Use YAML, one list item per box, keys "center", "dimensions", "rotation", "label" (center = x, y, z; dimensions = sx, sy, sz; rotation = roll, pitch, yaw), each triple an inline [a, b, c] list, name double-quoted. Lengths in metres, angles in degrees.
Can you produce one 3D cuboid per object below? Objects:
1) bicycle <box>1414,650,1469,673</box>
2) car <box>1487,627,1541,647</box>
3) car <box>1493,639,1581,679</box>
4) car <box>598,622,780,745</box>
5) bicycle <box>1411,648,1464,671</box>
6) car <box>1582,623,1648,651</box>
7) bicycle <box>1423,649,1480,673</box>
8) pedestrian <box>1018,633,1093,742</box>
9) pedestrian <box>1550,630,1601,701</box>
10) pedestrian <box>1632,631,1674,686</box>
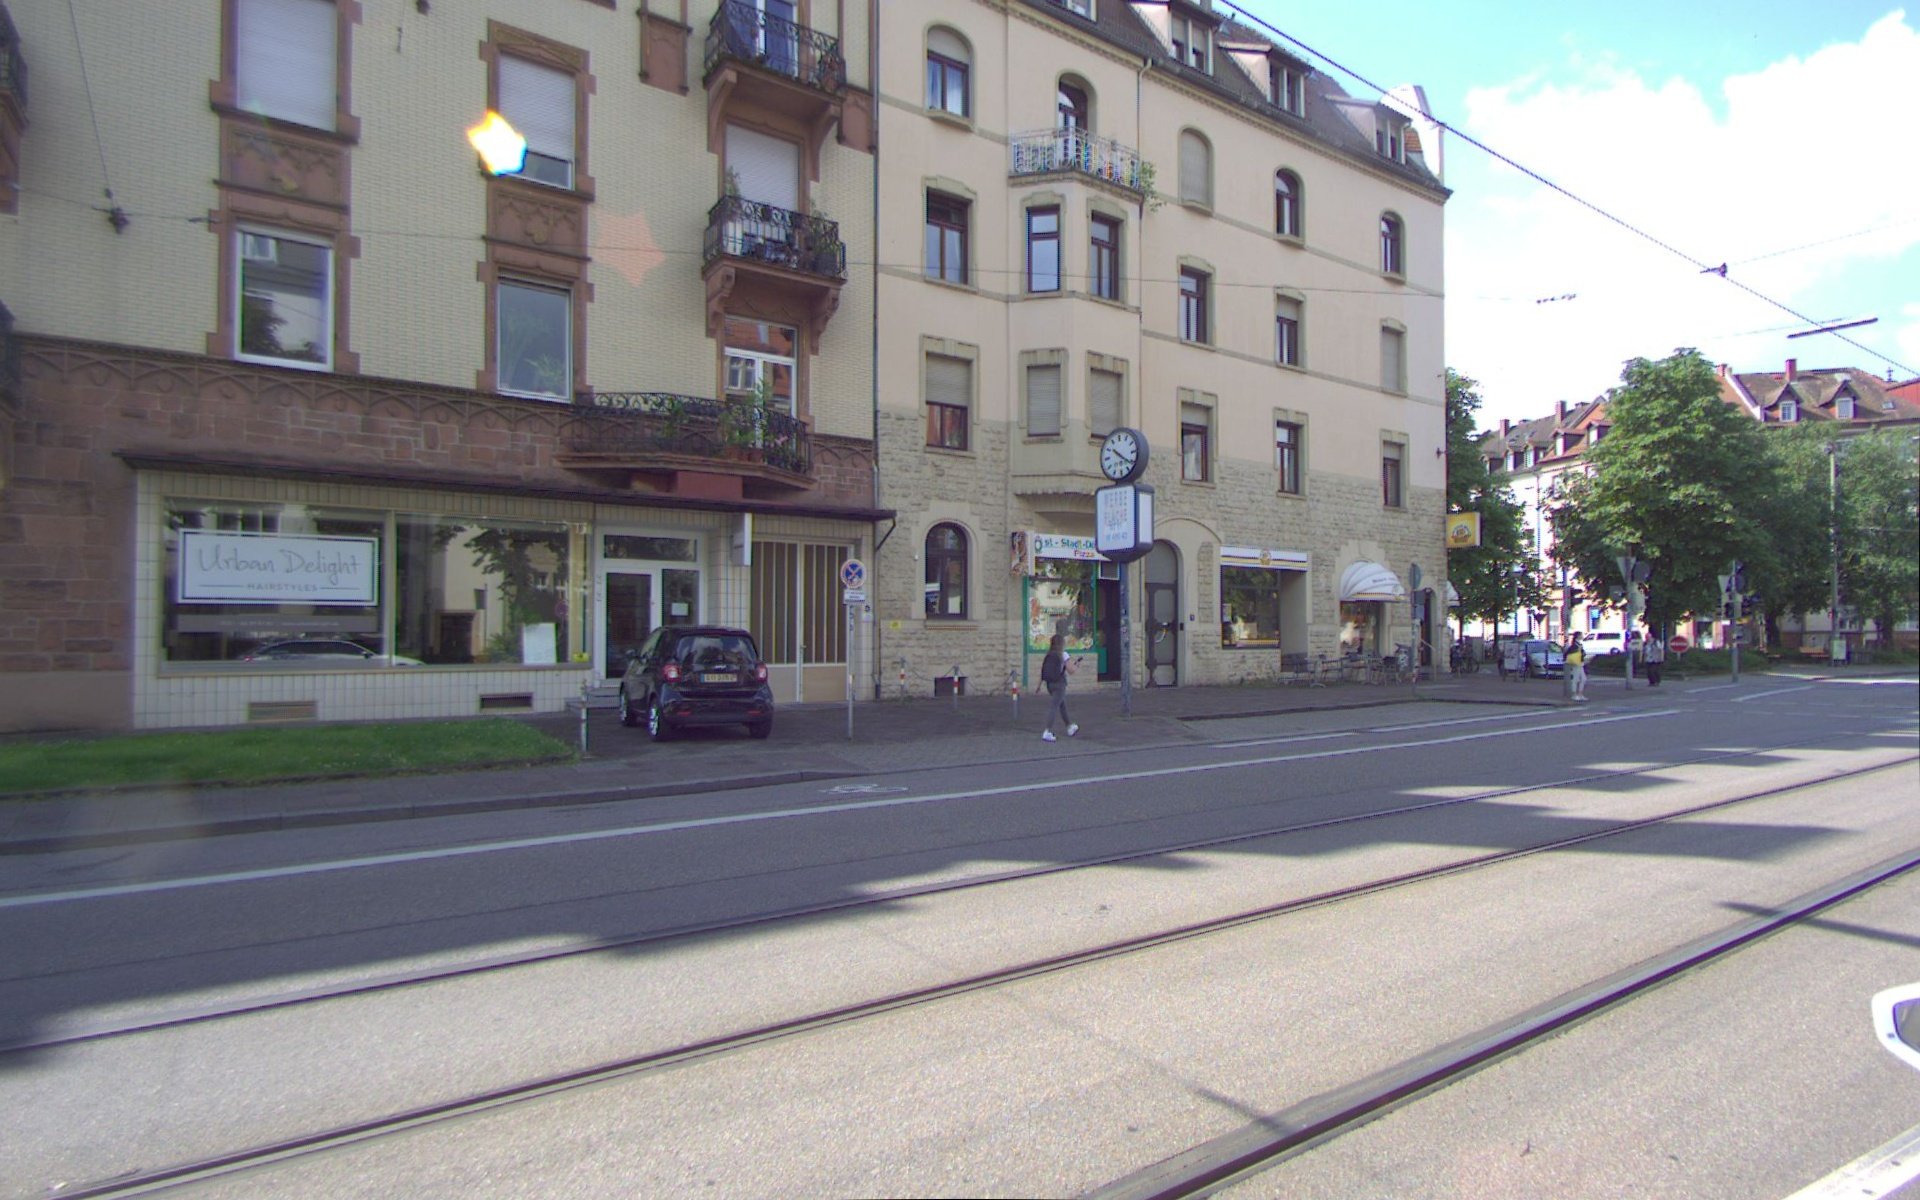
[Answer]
- center: [20.214, 2.595, 42.174]
  dimensions: [1.990, 0.894, 0.512]
  rotation: [1, -2, 13]
  label: "bicycle"
- center: [46.115, 3.078, 83.648]
  dimensions: [1.882, 1.685, 3.934]
  rotation: [0, -2, -11]
  label: "car"
- center: [22.048, 2.223, 38.517]
  dimensions: [1.686, 1.439, 3.876]
  rotation: [0, -2, 10]
  label: "car"
- center: [-4.107, 1.130, 14.886]
  dimensions: [1.687, 1.506, 3.425]
  rotation: [1, 0, -32]
  label: "car"
- center: [20.586, 2.556, 43.359]
  dimensions: [1.990, 0.894, 0.512]
  rotation: [1, -2, 13]
  label: "bicycle"
- center: [48.138, 2.738, 73.900]
  dimensions: [1.823, 2.015, 3.942]
  rotation: [0, -2, -10]
  label: "car"
- center: [19.968, 2.482, 40.846]
  dimensions: [1.990, 0.894, 0.523]
  rotation: [1, -2, 13]
  label: "bicycle"
- center: [1.481, 1.327, 15.551]
  dimensions: [0.685, 1.562, 0.959]
  rotation: [4, 2, 38]
  label: "pedestrian"
- center: [15.700, 1.661, 25.633]
  dimensions: [0.865, 1.727, 0.751]
  rotation: [1, 2, -34]
  label: "pedestrian"
- center: [22.005, 1.840, 31.902]
  dimensions: [0.813, 1.694, 0.850]
  rotation: [1, -2, -32]
  label: "pedestrian"
